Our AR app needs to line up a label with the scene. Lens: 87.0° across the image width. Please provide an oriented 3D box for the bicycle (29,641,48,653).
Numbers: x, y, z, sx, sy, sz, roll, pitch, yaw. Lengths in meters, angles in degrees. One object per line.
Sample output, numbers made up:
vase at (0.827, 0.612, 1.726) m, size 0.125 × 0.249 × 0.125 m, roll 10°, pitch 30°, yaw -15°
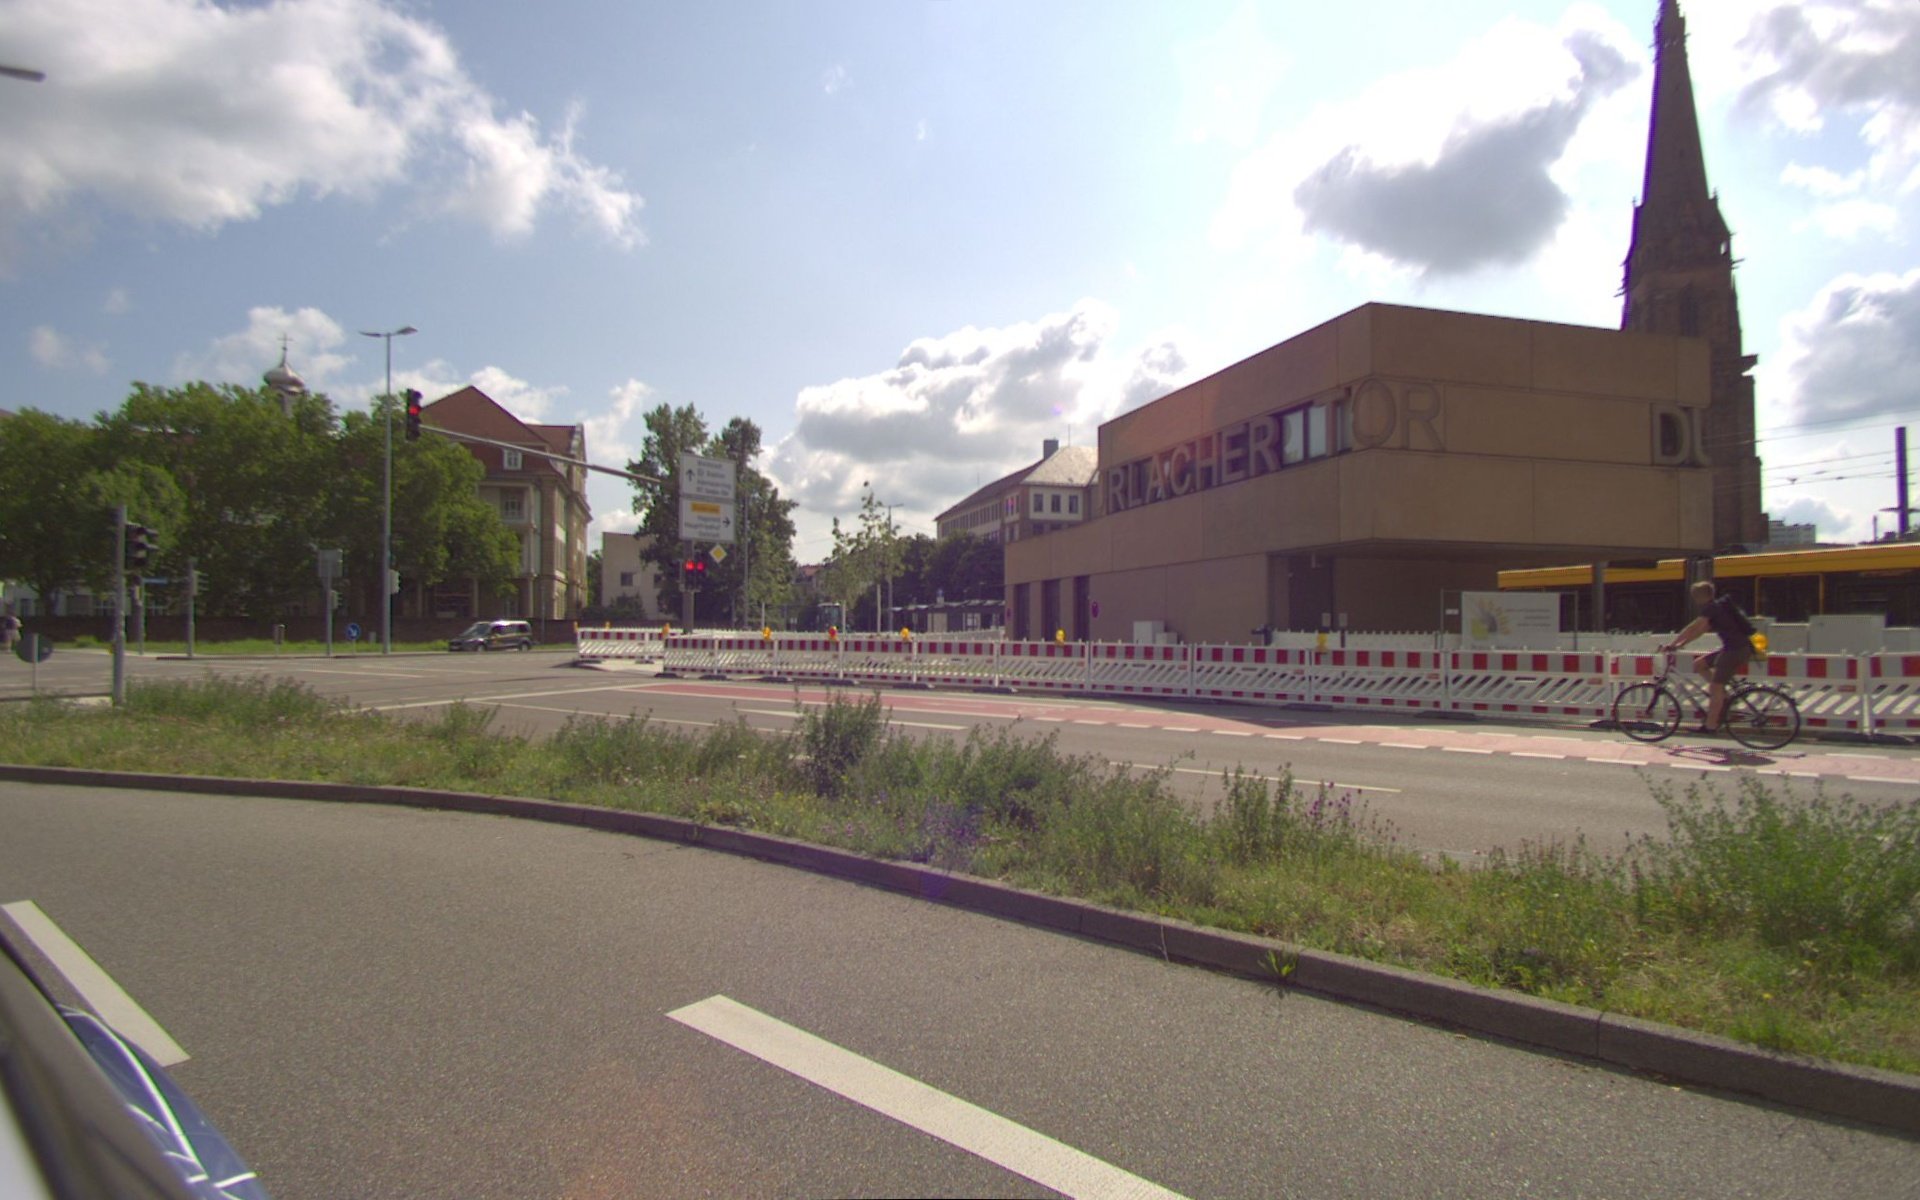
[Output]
bicycle at (-66.044, 3.400, 72.559) m, size 0.475 × 0.855 × 0.974 m, roll 0°, pitch -2°, yaw -3°

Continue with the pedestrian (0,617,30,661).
pedestrian at (-41.922, 1.717, 44.615) m, size 0.691 × 1.871 × 1.178 m, roll -2°, pitch -2°, yaw 8°

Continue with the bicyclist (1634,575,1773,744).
bicyclist at (8.608, 0.666, 11.727) m, size 1.159 × 1.836 × 0.801 m, roll -2°, pitch -2°, yaw 45°

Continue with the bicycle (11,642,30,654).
bicycle at (-67.326, 3.448, 72.509) m, size 0.475 × 0.855 × 0.974 m, roll 0°, pitch -2°, yaw -3°

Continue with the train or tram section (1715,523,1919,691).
train or tram section at (22.423, 0.096, 20.334) m, size 2.623 × 3.599 × 12.449 m, roll 0°, pitch -2°, yaw -16°

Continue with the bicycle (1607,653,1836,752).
bicycle at (8.685, 1.131, 11.620) m, size 2.019 × 1.009 × 0.609 m, roll -2°, pitch -2°, yaw 44°

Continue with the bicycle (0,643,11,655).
bicycle at (-68.634, 3.497, 72.417) m, size 0.475 × 0.855 × 0.974 m, roll 0°, pitch -2°, yaw -3°

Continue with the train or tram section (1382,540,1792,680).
train or tram section at (18.869, 0.445, 32.290) m, size 2.585 × 3.591 × 12.450 m, roll 0°, pitch -2°, yaw -17°

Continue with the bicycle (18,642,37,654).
bicycle at (-66.767, 3.424, 72.479) m, size 0.475 × 0.855 × 0.974 m, roll 0°, pitch -2°, yaw -3°

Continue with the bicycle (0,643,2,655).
bicycle at (-69.179, 3.516, 72.372) m, size 0.475 × 0.855 × 0.974 m, roll 0°, pitch -2°, yaw -3°

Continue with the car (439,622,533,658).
car at (-25.276, 2.161, 54.105) m, size 1.841 × 1.799 × 4.640 m, roll -2°, pitch -3°, yaw 20°

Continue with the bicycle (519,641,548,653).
bicycle at (-33.448, 3.685, 79.429) m, size 2.025 × 0.867 × 0.861 m, roll 1°, pitch -1°, yaw -28°

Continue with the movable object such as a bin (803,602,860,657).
movable object such as a bin at (-7.348, 1.708, 57.541) m, size 1.965 × 2.972 × 4.465 m, roll 1°, pitch -2°, yaw -25°
